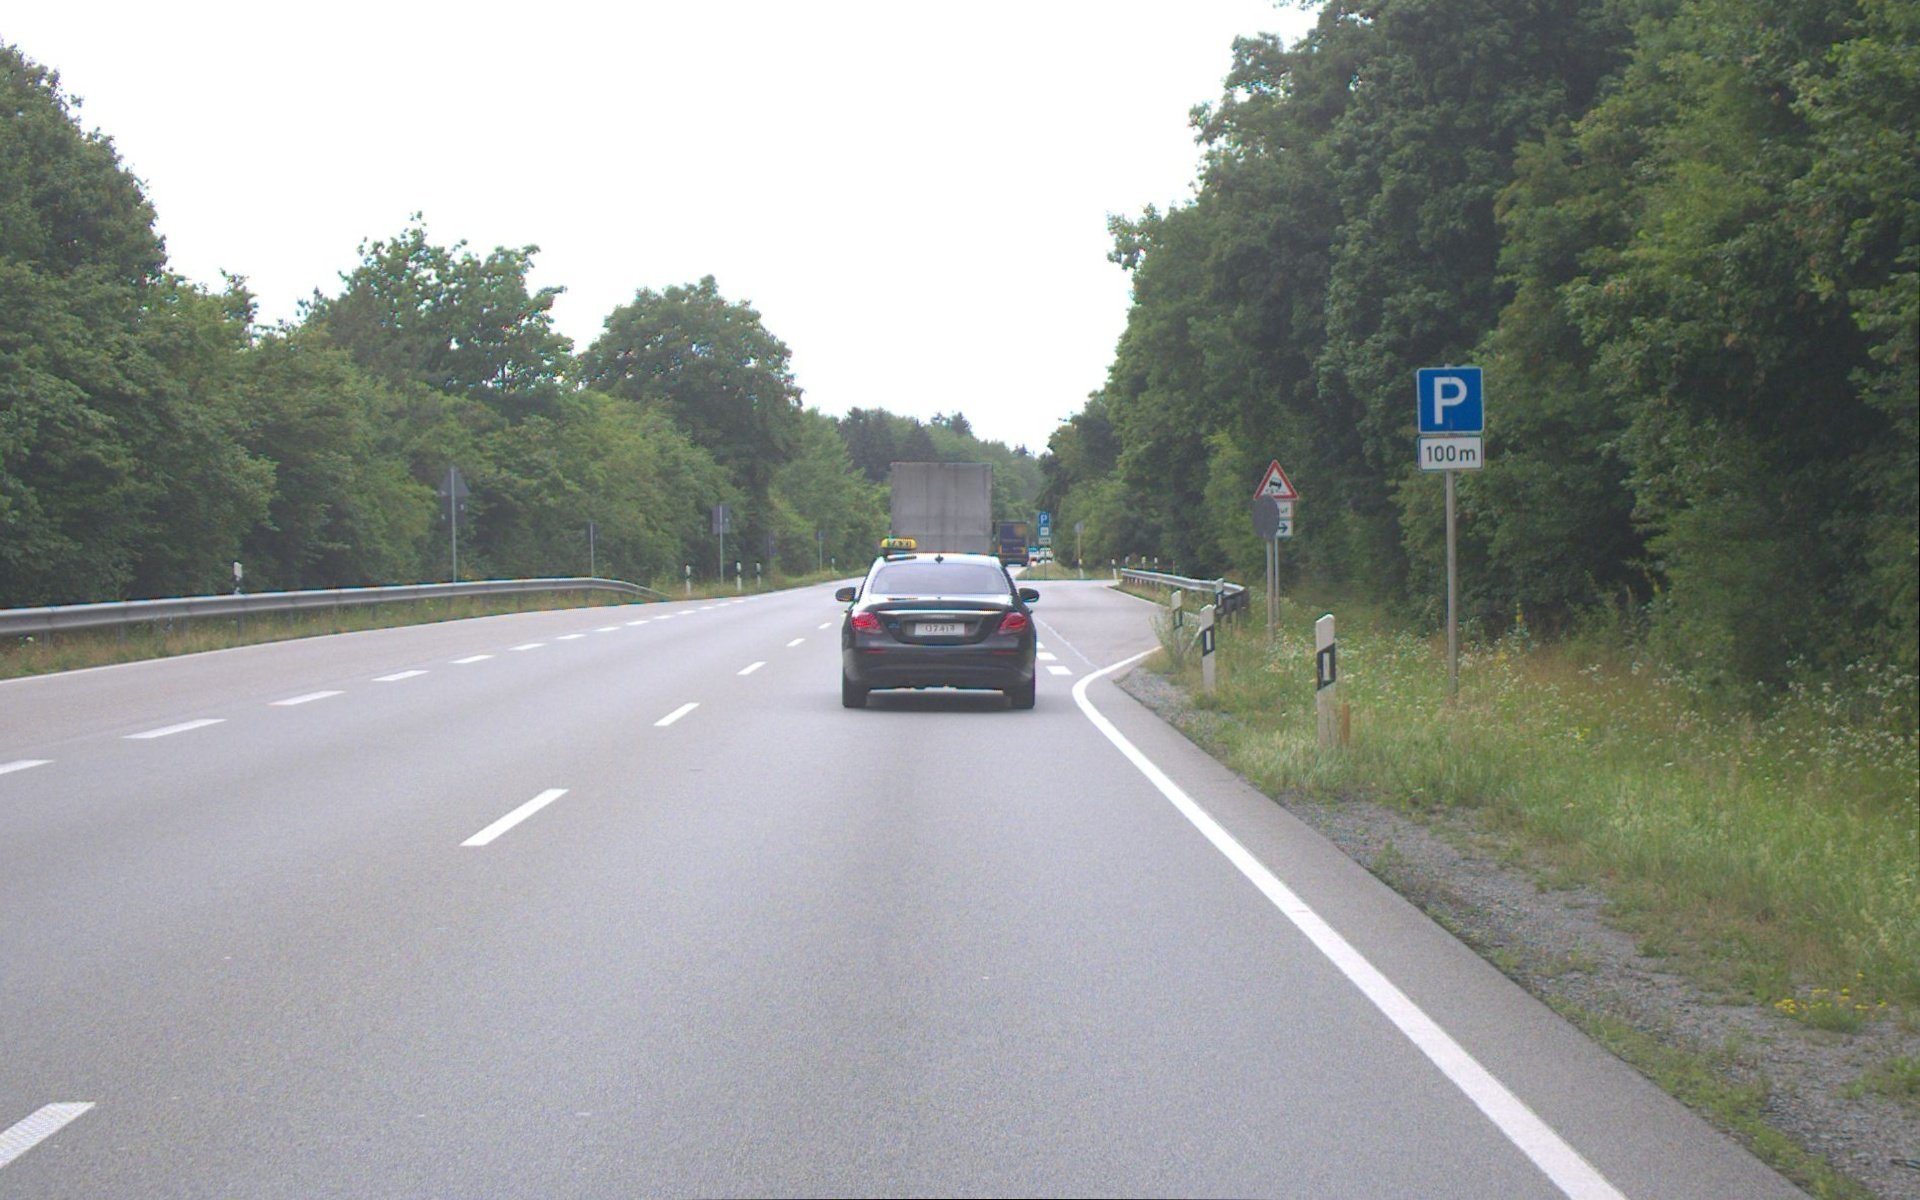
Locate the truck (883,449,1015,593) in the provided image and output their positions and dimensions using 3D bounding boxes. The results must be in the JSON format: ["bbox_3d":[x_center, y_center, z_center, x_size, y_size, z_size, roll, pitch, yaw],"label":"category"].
[{"bbox_3d":[-0.338,-2.067,91.915,3.281,3.599,11.400,1,1,-1],"label":"truck"}]

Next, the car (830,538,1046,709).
[{"bbox_3d":[-0.278,0.182,33.360,1.791,1.546,4.001,0,1,-5],"label":"car"}]
